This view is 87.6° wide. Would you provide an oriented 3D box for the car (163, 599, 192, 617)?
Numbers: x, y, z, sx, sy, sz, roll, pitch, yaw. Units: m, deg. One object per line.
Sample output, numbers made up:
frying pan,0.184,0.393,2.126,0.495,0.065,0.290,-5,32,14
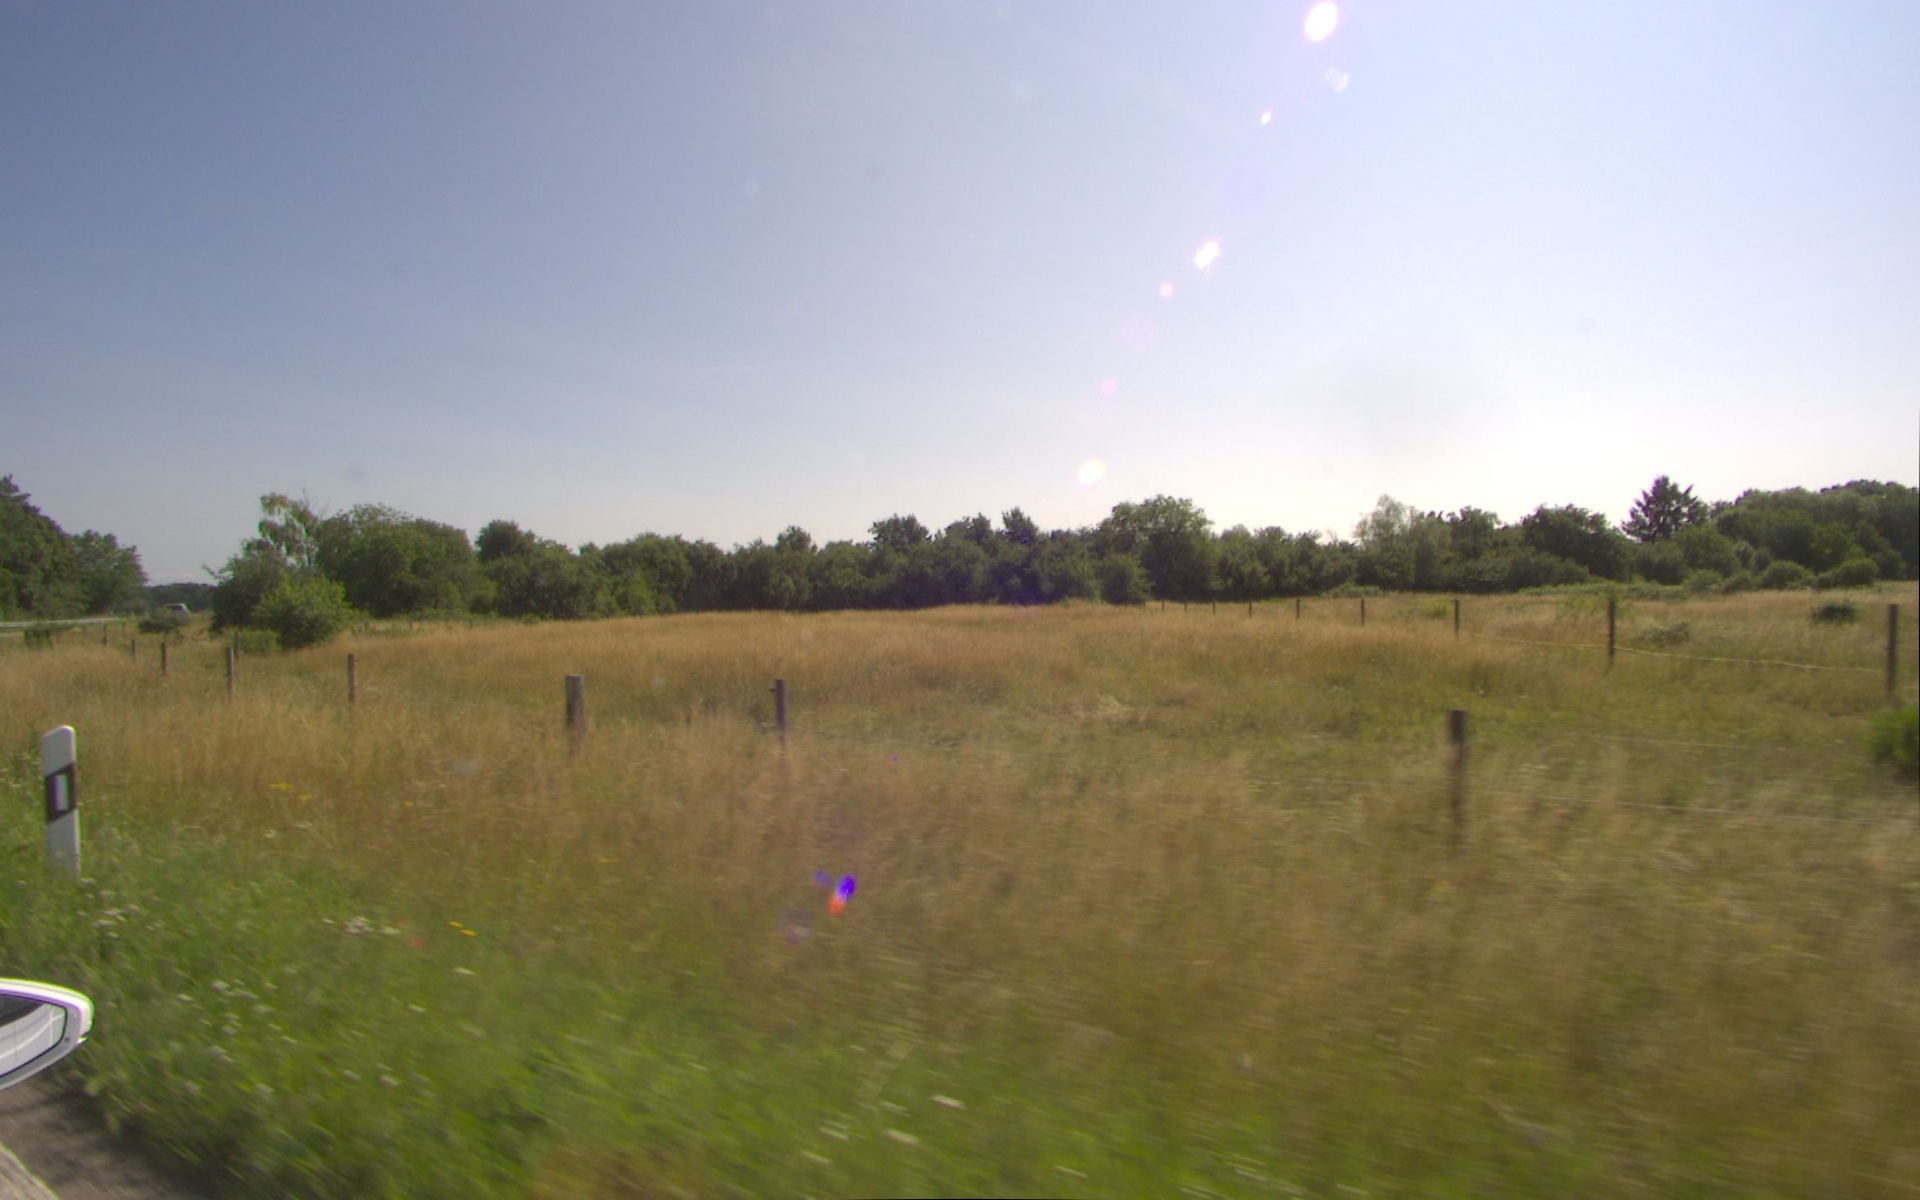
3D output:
car,-84.482,0.883,108.165,1.941,1.825,4.139,1,-2,-31
